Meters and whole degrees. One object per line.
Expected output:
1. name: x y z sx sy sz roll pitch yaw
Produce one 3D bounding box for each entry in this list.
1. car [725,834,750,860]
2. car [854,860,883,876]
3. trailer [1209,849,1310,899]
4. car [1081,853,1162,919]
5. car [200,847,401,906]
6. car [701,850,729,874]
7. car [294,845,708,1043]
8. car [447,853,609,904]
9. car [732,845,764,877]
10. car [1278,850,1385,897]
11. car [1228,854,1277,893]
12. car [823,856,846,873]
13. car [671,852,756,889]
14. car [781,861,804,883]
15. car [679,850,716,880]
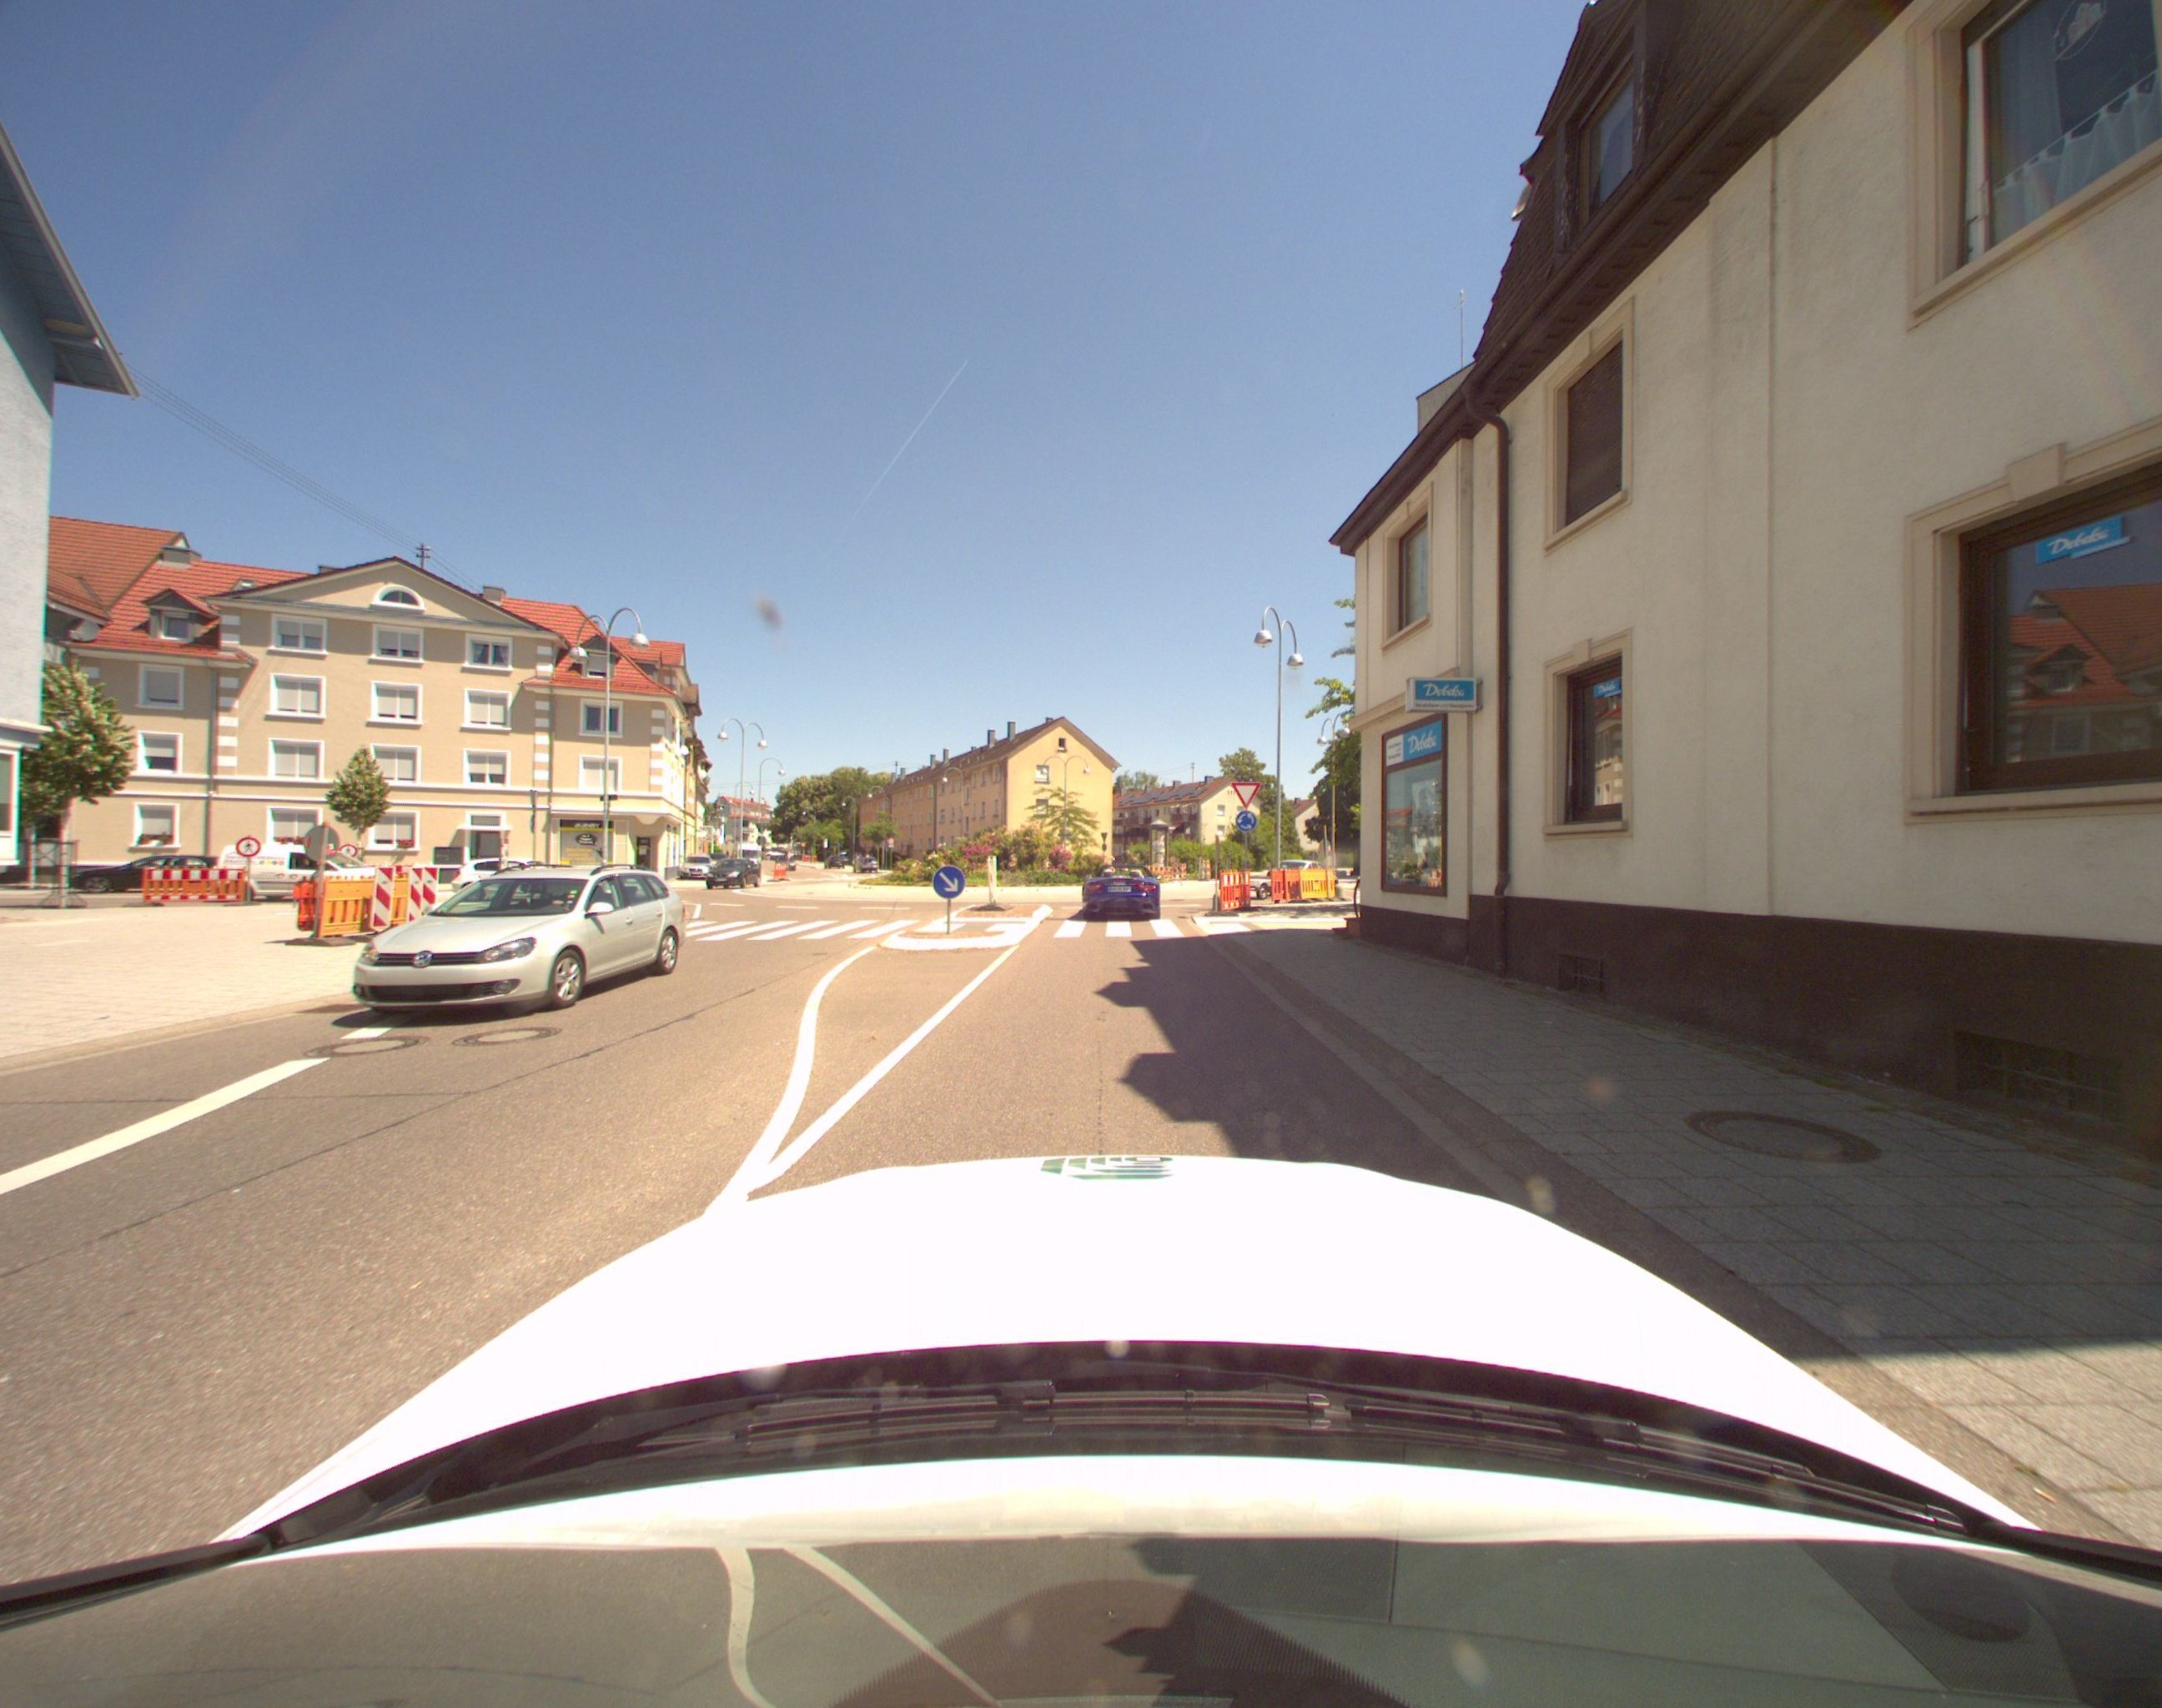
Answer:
1. car: -35.910 -0.672 85.080 2.154 2.533 4.815 3 -1 -25
2. car: -20.705 1.324 79.326 1.822 1.500 3.964 2 -2 -28
3. trailer: 6.430 0.682 29.340 3.206 1.717 1.740 0 0 -30
4. car: 1.156 0.807 21.121 1.861 1.530 4.513 0 -2 6
5. car: -24.812 0.712 26.093 4.240 1.778 1.771 1 -1 -18
6. car: -26.747 0.603 59.623 1.605 1.617 4.061 3 -1 -22
7. car: -6.275 0.796 9.631 1.835 1.529 4.387 -5 2 -4
8. car: -18.737 0.830 27.803 4.117 1.551 1.780 2 -1 -12
9. car: -28.740 0.616 70.205 2.154 2.533 6.187 3 -1 -25
10. car: 9.967 0.737 32.330 4.142 1.747 1.770 1 -1 -31
11. car: 6.884 0.751 32.944 1.728 1.436 3.720 -1 -1 9
12. car: -28.409 1.198 93.721 1.822 1.794 3.964 2 -2 -28
13. car: -17.146 0.746 37.940 3.972 1.451 1.676 2 4 32
14. car: -28.048 1.749 79.266 1.999 2.014 3.976 2 -1 -18
15. car: -22.855 0.663 48.645 1.783 1.686 4.659 1 -1 -22
